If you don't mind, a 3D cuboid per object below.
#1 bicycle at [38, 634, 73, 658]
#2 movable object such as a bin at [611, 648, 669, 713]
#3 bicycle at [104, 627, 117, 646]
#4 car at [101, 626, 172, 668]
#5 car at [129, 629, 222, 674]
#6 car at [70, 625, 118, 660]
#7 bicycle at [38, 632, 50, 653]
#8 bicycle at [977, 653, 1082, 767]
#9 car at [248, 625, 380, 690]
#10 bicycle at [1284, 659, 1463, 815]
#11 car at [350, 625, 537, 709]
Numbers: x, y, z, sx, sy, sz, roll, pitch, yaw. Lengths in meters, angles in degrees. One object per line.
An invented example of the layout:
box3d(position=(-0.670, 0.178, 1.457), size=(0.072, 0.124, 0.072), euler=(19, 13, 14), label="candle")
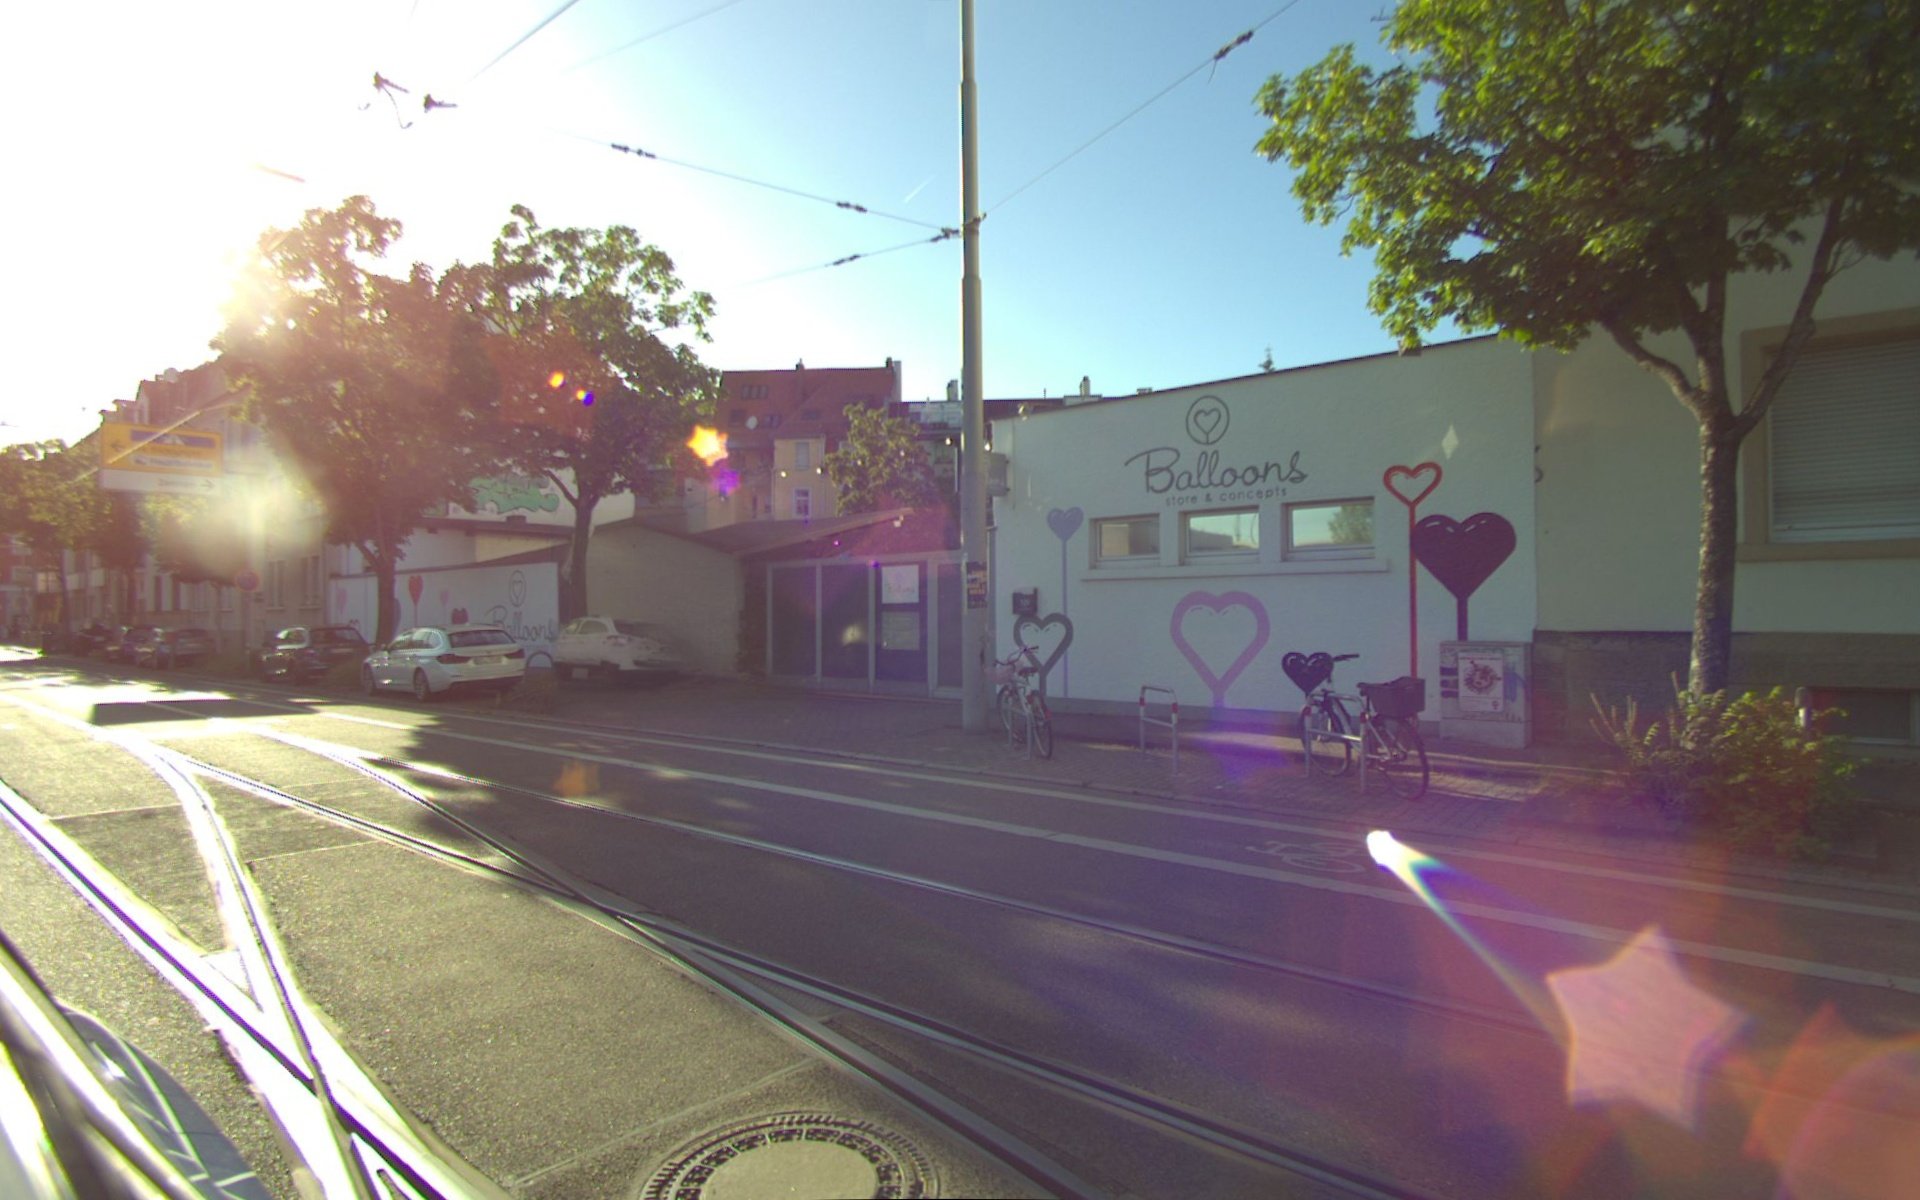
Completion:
box3d(position=(-46.499, 2.369, 52.040), size=(0.409, 1.178, 1.326), euler=(-1, -1, 41), label="bicycle")
box3d(position=(-5.266, 1.312, 16.646), size=(0.702, 0.966, 0.576), euler=(-1, 4, 41), label="movable object such as a bin")
box3d(position=(-47.428, 2.028, 56.493), size=(1.661, 1.050, 0.300), euler=(-1, -1, 41), label="bicycle")
box3d(position=(-32.647, 1.829, 40.094), size=(3.998, 1.516, 1.555), euler=(-1, -1, 41), label="car")
box3d(position=(-28.068, 1.799, 36.145), size=(4.291, 1.439, 1.854), euler=(-1, -1, 41), label="car")
box3d(position=(-40.936, 2.031, 47.822), size=(2.545, 1.514, 1.341), euler=(-5, -3, 41), label="car")
box3d(position=(-48.176, 2.223, 53.229), size=(1.661, 1.050, 0.300), euler=(-1, -1, 41), label="bicycle")
box3d(position=(0.717, 1.147, 11.035), size=(0.658, 1.048, 1.791), euler=(-1, 0, -12), label="bicycle")
box3d(position=(-16.775, 1.433, 26.210), size=(4.303, 1.497, 1.754), euler=(-1, -1, 41), label="car")
box3d(position=(3.398, 1.075, 8.527), size=(0.524, 1.048, 1.989), euler=(-1, 0, -5), label="bicycle")
box3d(position=(-10.776, 1.289, 20.976), size=(4.658, 1.502, 1.845), euler=(-1, -1, 41), label="car")
